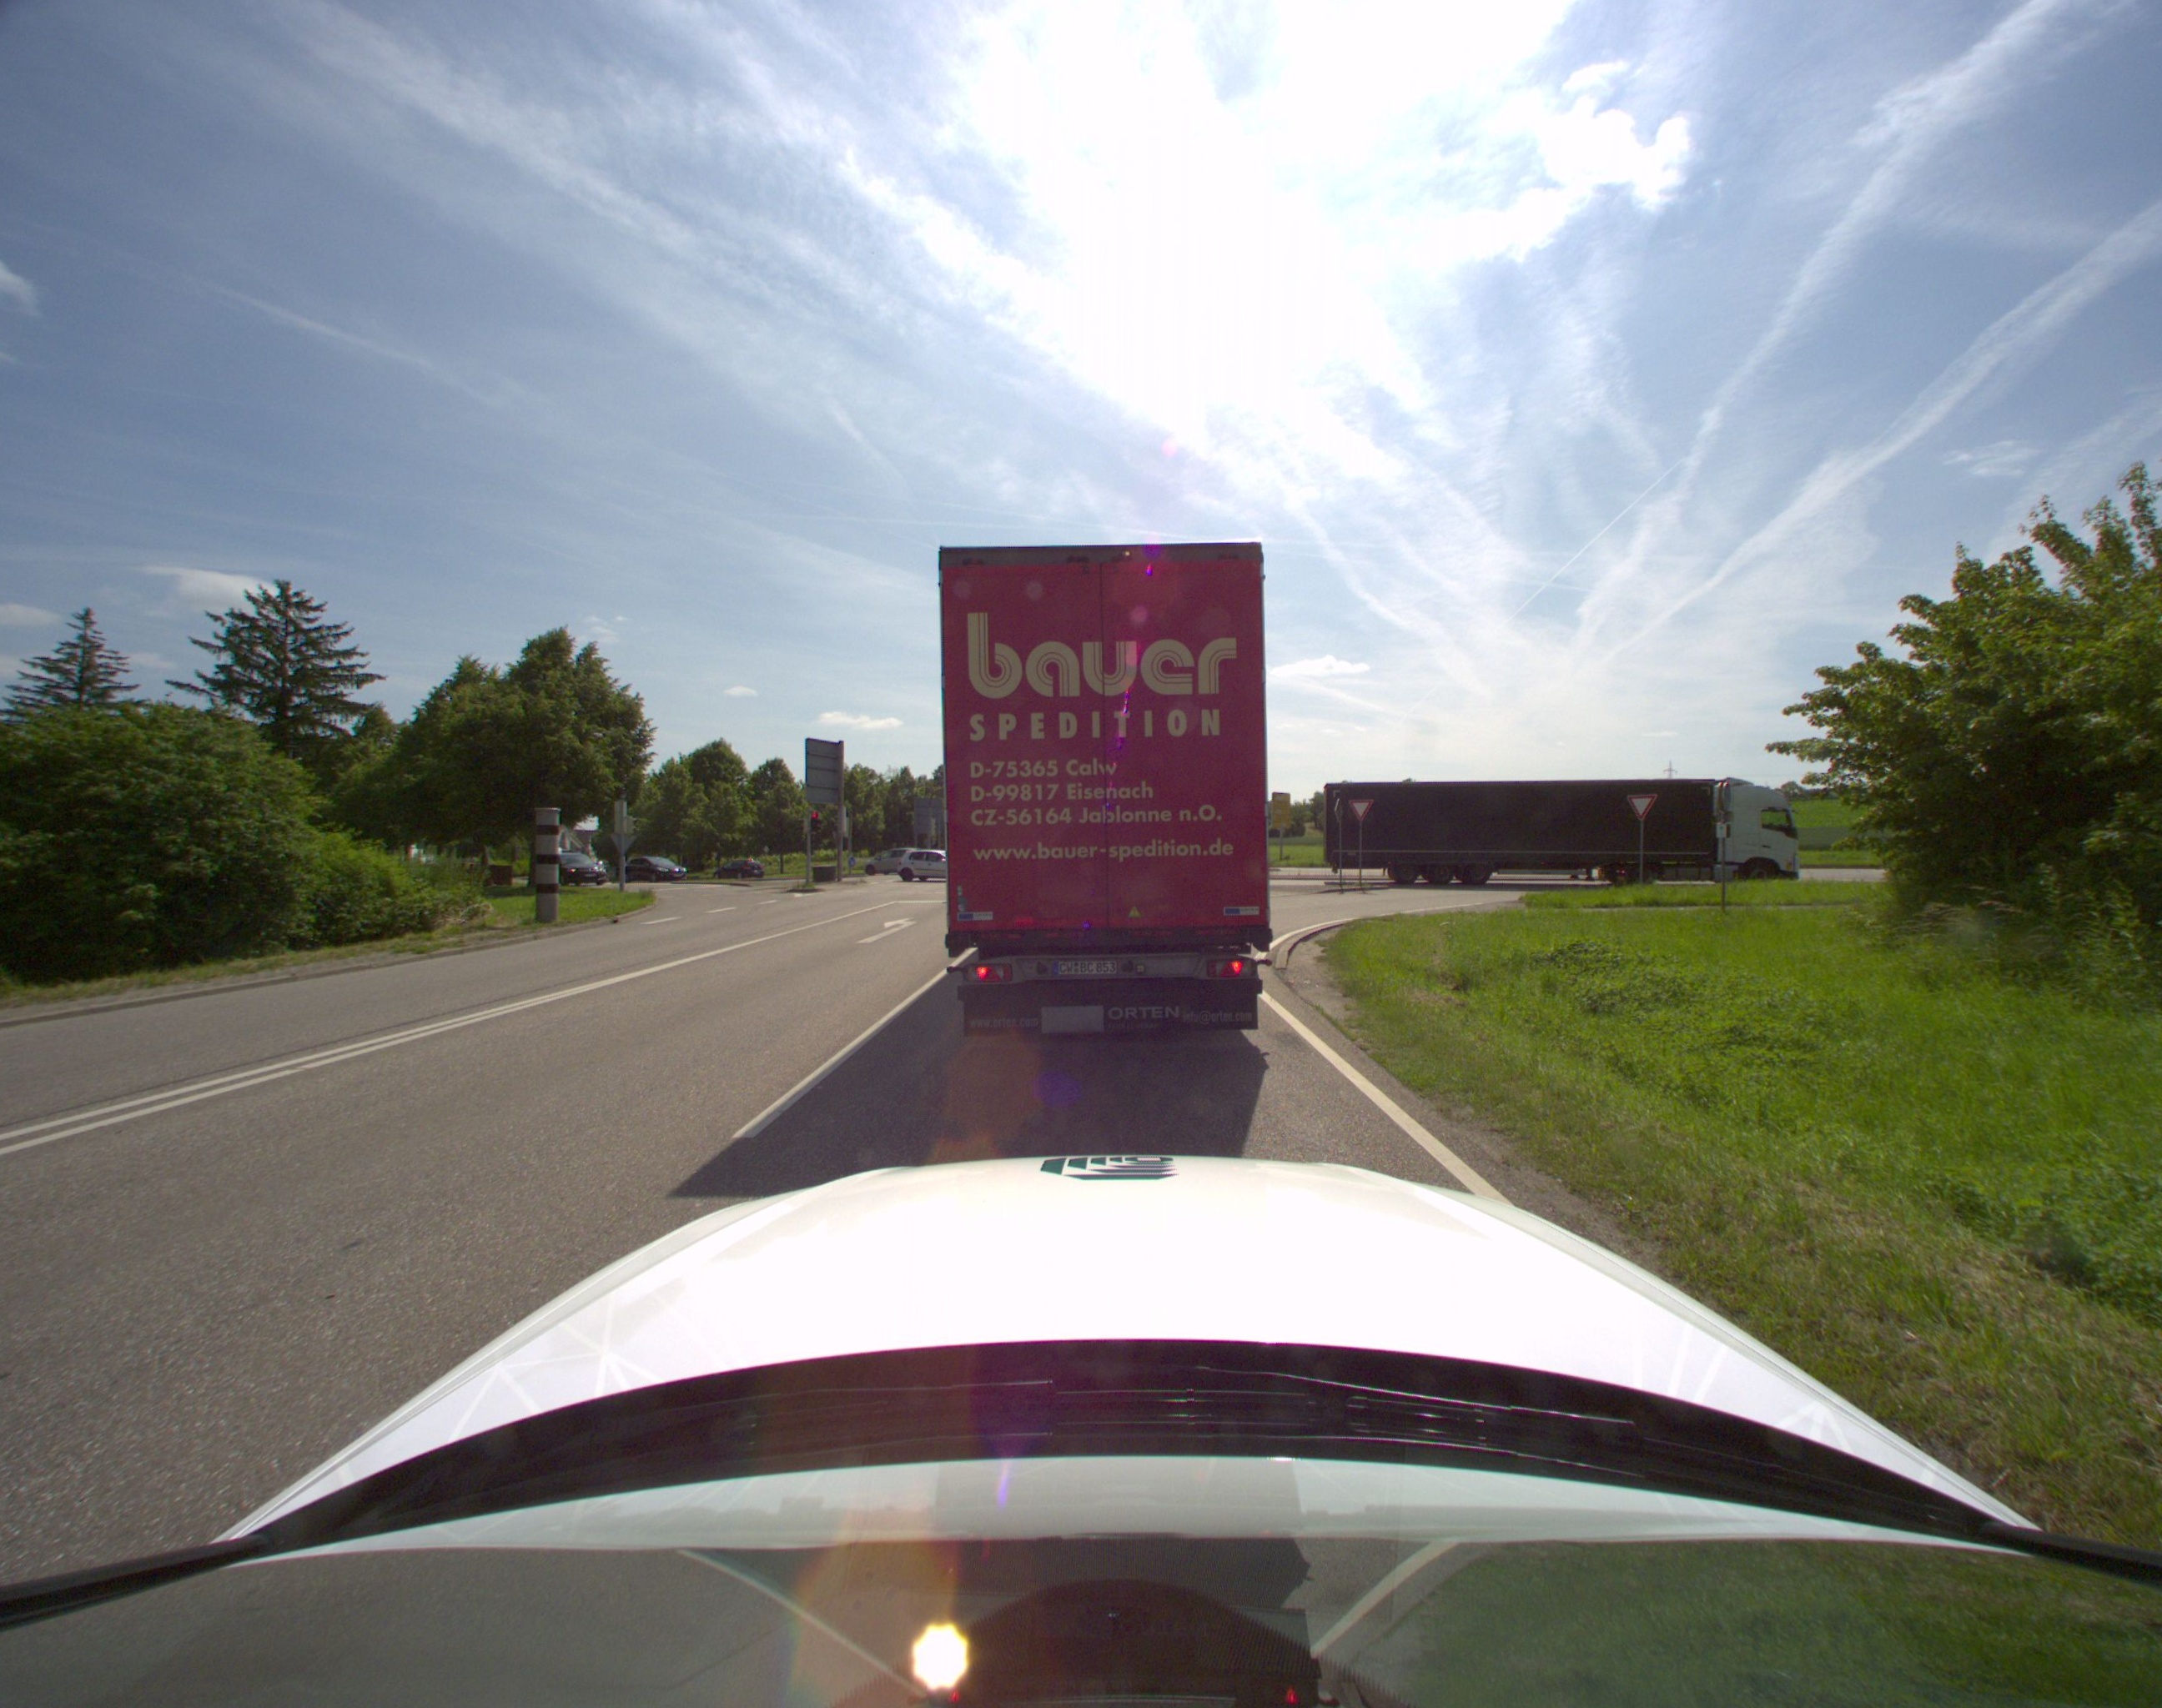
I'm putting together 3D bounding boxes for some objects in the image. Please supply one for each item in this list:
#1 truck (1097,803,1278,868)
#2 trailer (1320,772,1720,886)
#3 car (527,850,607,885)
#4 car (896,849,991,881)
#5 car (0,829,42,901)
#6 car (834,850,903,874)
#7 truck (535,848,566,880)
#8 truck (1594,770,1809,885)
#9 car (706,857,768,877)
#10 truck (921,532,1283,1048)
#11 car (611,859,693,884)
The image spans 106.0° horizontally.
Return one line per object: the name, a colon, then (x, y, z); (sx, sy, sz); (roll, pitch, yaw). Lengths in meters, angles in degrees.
truck: (6.850, -1.199, 56.189); (3.043, 3.979, 14.164); (-1, 1, -39)
trailer: (16.551, -0.882, 31.958); (13.589, 4.061, 2.808); (0, 1, 13)
car: (-25.367, 0.662, 40.164); (4.213, 1.597, 1.821); (-1, 1, 35)
car: (-6.454, 0.516, 38.378); (4.002, 1.416, 1.803); (0, 1, 18)
car: (-35.292, 0.324, 24.457); (4.601, 2.180, 1.985); (0, 0, -22)
car: (-13.236, 0.511, 50.775); (3.961, 1.491, 1.545); (-1, -1, 20)
truck: (-66.681, 1.280, 102.489); (2.956, 3.798, 7.850); (0, -1, -30)
truck: (23.003, -0.946, 30.531); (5.788, 4.061, 2.807); (0, 1, 11)
car: (-24.004, 0.905, 56.808); (4.226, 1.305, 1.752); (-1, 0, 29)
truck: (0.390, -0.543, 14.559); (2.724, 3.925, 16.631); (-1, 0, 2)
car: (-23.379, 0.928, 44.396); (4.228, 1.305, 1.752); (0, 1, 25)
